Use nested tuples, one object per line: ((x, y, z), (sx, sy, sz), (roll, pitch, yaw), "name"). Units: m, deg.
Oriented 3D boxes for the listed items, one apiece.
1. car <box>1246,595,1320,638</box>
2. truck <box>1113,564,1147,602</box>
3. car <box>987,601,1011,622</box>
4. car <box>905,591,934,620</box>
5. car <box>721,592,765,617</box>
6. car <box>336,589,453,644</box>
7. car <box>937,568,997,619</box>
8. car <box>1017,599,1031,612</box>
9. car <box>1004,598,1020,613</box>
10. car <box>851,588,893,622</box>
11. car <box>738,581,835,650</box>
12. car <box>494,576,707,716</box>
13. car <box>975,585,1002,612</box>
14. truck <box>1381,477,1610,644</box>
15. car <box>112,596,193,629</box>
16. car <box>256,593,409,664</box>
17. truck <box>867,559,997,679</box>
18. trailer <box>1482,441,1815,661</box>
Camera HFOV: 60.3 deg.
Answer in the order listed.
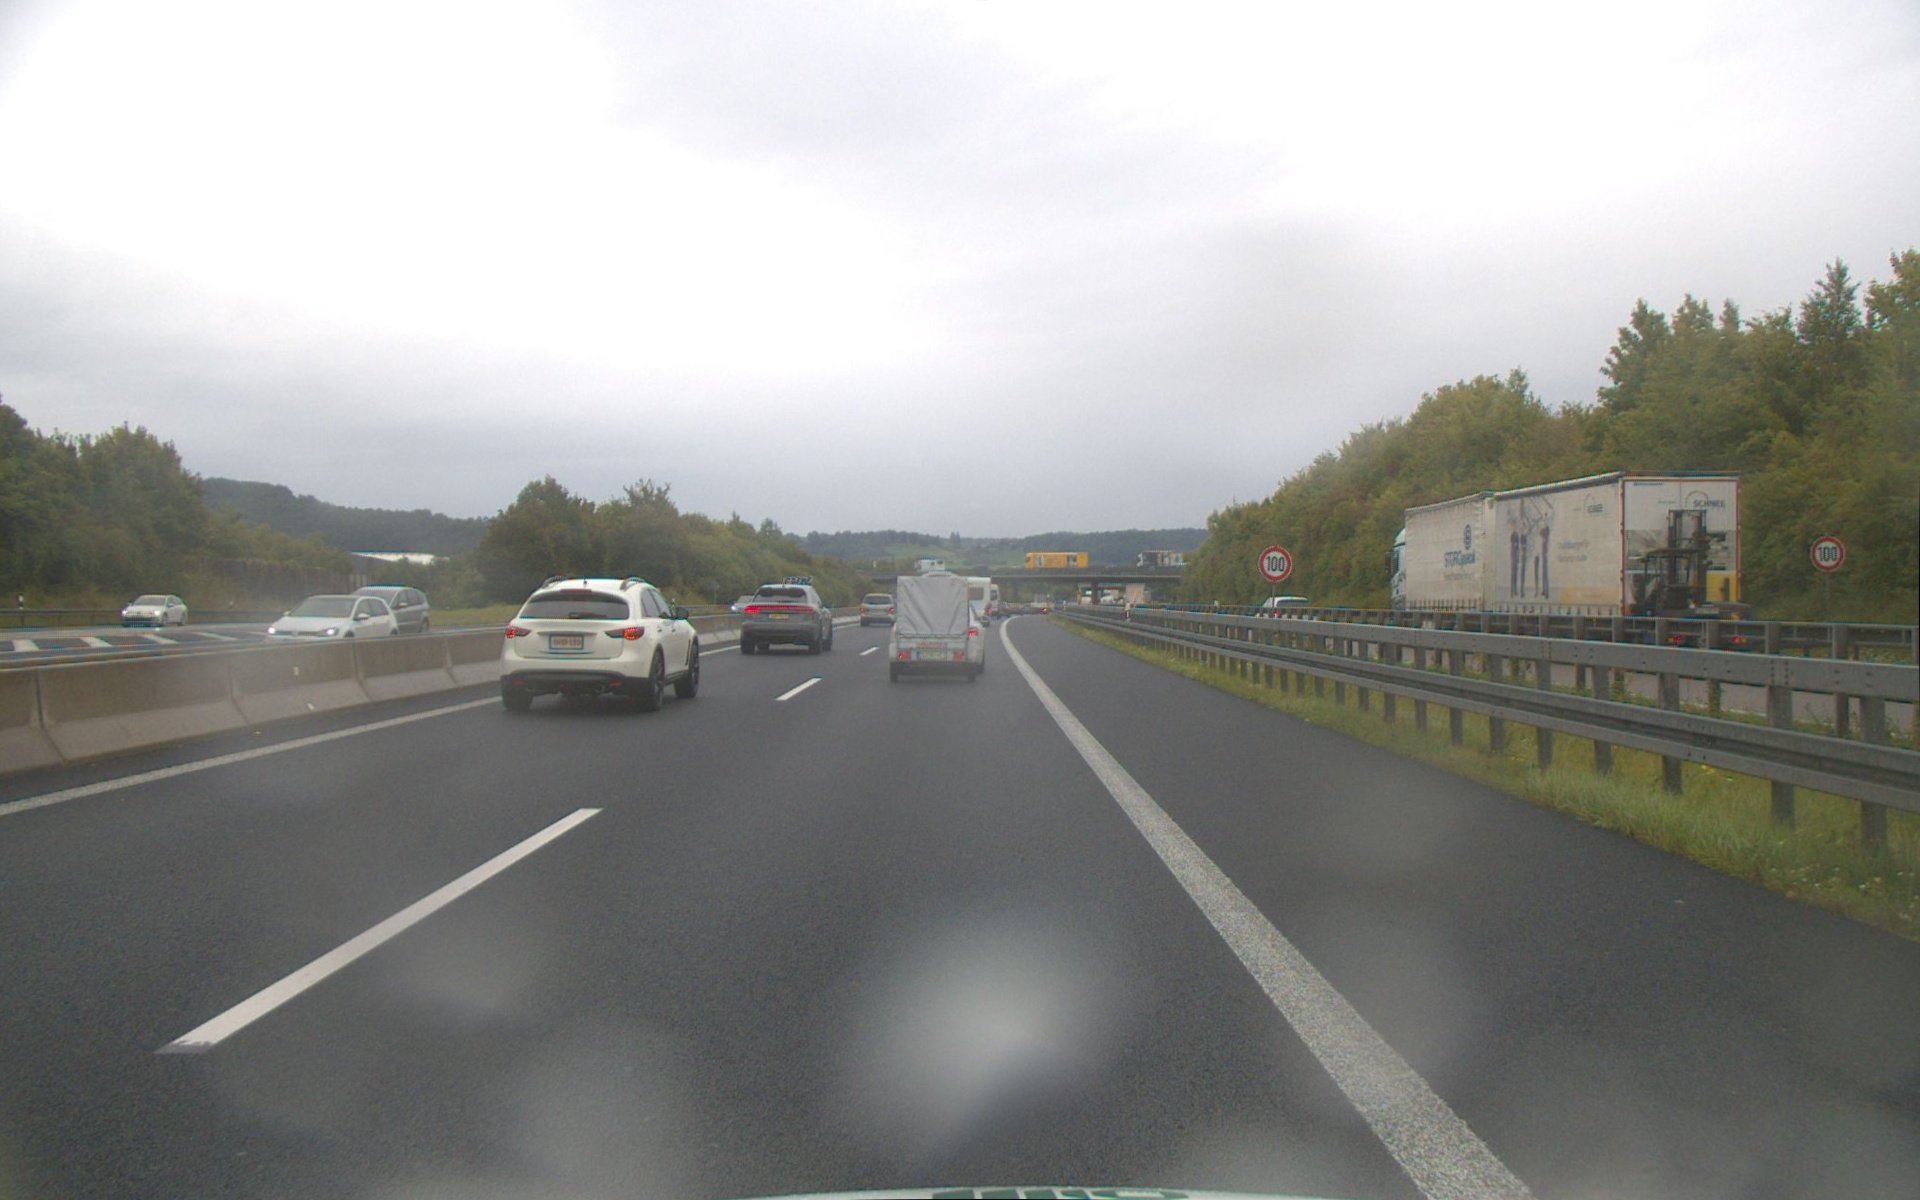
((11.415, 0.569, 58.716), (1.821, 1.472, 4.158), (0, 0, 0), "car")
((23.448, -2.323, 228.730), (4.008, 5.193, 10.466), (0, 0, 2), "truck")
((3.560, 1.025, 150.152), (1.953, 1.780, 3.999), (1, 0, -2), "car")
((-2.634, 0.331, 108.738), (1.804, 1.851, 4.000), (0, 0, 0), "car")
((-15.342, 0.320, 117.002), (2.134, 1.725, 5.252), (0, 0, 3), "car")
((-18.115, 0.496, 53.246), (2.135, 1.663, 4.538), (0, 0, 1), "car")
((0.431, -0.347, 89.643), (2.953, 2.662, 6.077), (0, 0, 3), "car")
((9.123, 0.770, 235.959), (1.952, 1.780, 4.002), (1, 0, 3), "car")
((6.448, 0.675, 206.018), (1.952, 1.780, 4.001), (1, 0, 2), "car")
((-4.396, 0.227, 82.994), (1.861, 1.641, 4.017), (0, 0, 0), "car")
((-4.382, 0.376, 42.485), (2.130, 1.660, 4.499), (0, 0, -2), "car")
((-4.625, 0.545, 21.961), (1.936, 1.668, 4.499), (0, 0, -2), "car")
((2.223, -0.136, 130.641), (1.953, 2.071, 4.150), (1, 0, -2), "car")
((15.377, -1.066, 48.603), (3.367, 4.364, 10.418), (0, 0, 0), "truck")
((-37.379, 0.553, 76.685), (2.140, 1.455, 4.379), (0, 0, -9), "car")
((-14.250, 0.615, 37.814), (1.942, 1.533, 4.140), (0, 0, 0), "car")
((-0.401, 0.299, 31.603), (1.977, 2.020, 7.216), (0, 0, 3), "truck")
((15.343, -0.999, 38.128), (3.367, 4.364, 10.454), (0, 0, 0), "trailer")
